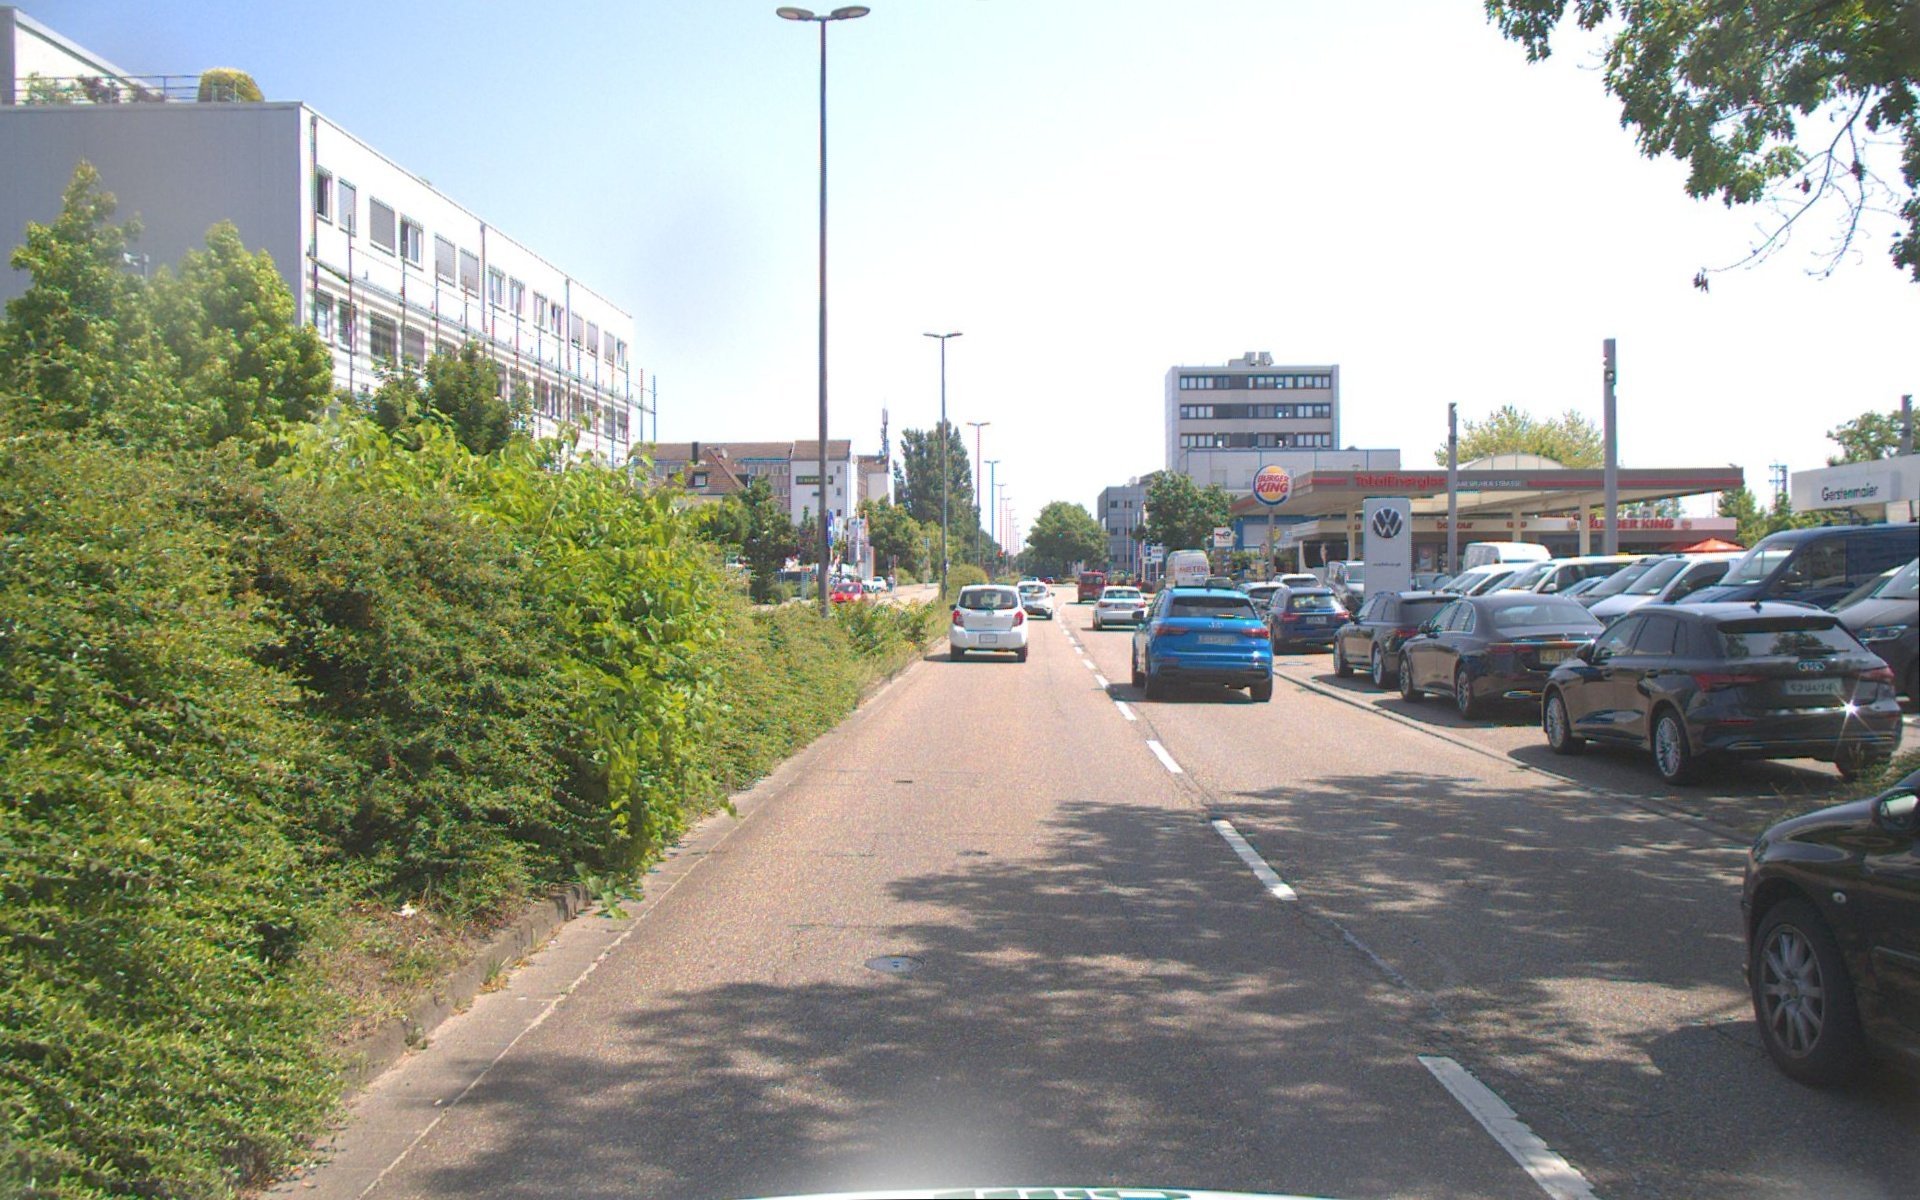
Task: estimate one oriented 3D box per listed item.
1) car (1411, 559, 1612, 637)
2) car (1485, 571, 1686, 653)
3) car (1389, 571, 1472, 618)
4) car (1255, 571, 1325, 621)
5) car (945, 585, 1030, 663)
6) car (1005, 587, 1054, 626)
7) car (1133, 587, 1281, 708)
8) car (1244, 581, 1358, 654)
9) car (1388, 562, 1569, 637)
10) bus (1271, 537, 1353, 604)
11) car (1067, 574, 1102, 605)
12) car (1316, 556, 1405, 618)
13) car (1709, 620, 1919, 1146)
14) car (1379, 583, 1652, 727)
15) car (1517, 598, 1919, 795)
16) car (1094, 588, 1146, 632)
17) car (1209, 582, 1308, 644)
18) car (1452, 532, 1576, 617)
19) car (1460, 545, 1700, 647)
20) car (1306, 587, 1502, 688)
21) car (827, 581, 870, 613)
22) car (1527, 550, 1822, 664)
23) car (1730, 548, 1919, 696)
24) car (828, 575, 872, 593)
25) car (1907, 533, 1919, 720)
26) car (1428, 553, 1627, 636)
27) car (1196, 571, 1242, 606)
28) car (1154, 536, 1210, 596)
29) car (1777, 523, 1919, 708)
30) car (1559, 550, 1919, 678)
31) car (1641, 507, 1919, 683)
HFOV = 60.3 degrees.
[{"bbox_3d":[13.869,-0.036,41.804,4.462,1.921,1.857,0,-1,1],"label":"car"},{"bbox_3d":[12.772,0.230,33.957,3.553,1.598,1.717,1,0,8],"label":"car"},{"bbox_3d":[16.358,-0.230,57.754,1.707,1.540,4.602,1,1,2],"label":"car"},{"bbox_3d":[11.463,-0.174,57.688,1.632,1.623,4.614,-1,1,2],"label":"car"},{"bbox_3d":[0.536,0.518,34.720,1.677,1.537,3.246,1,-1,-1],"label":"car"},{"bbox_3d":[2.725,0.266,65.933,1.792,1.475,4.000,1,-1,0],"label":"car"},{"bbox_3d":[3.626,0.632,24.971,1.872,1.625,4.398,1,1,4],"label":"car"},{"bbox_3d":[7.935,0.389,38.909,1.678,1.575,4.790,-1,0,0],"label":"car"},{"bbox_3d":[14.043,-0.034,44.975,4.321,1.915,1.909,-1,1,1],"label":"car"},{"bbox_3d":[17.727,-1.564,84.015,2.745,3.132,12.295,0,2,6],"label":"bus"},{"bbox_3d":[7.217,-0.592,96.398,1.758,1.759,3.972,1,-1,0],"label":"car"},{"bbox_3d":[13.851,-0.451,57.539,1.952,2.058,5.162,1,0,1],"label":"car"},{"bbox_3d":[3.488,0.808,4.079,1.567,1.450,3.660,0,0,-1],"label":"car"},{"bbox_3d":[7.032,0.609,21.573,1.920,1.556,5.162,-3,0,2],"label":"car"},{"bbox_3d":[6.538,0.733,14.803,1.647,1.460,4.440,-1,0,1],"label":"car"},{"bbox_3d":[5.273,0.337,54.711,1.632,1.424,3.795,0,-1,4],"label":"car"},{"bbox_3d":[7.935,0.306,44.290,1.698,1.579,4.178,0,1,-3],"label":"car"},{"bbox_3d":[19.180,-0.884,57.628,2.209,2.722,7.020,-1,1,2],"label":"car"},{"bbox_3d":[13.647,-0.105,36.611,4.545,2.048,1.960,-2,1,0],"label":"car"},{"bbox_3d":[7.247,0.554,27.562,1.817,1.507,5.155,-1,0,-1],"label":"car"},{"bbox_3d":[-5.398,-0.166,80.345,1.596,1.449,3.452,-2,0,3],"label":"car"},{"bbox_3d":[13.429,0.088,31.323,4.687,2.018,2.005,1,2,2],"label":"car"},{"bbox_3d":[13.381,0.232,22.911,4.473,1.883,1.952,-2,1,1],"label":"car"},{"bbox_3d":[-10.311,-1.482,155.334,3.903,1.579,1.866,1,-1,5],"label":"car"},{"bbox_3d":[13.427,0.202,18.026,4.960,2.133,2.041,-2,0,1],"label":"car"},{"bbox_3d":[13.527,-0.105,39.591,4.064,1.812,1.881,-2,-1,1],"label":"car"},{"bbox_3d":[11.860,-0.535,76.009,1.623,1.545,3.821,-2,1,2],"label":"car"},{"bbox_3d":[11.957,-1.819,89.607,2.089,2.888,7.312,-5,1,2],"label":"car"},{"bbox_3d":[13.064,0.094,20.486,4.798,2.151,2.129,-2,1,1],"label":"car"},{"bbox_3d":[13.589,0.227,28.451,5.770,2.049,2.260,1,0,3],"label":"car"},{"bbox_3d":[13.851,-0.046,25.589,5.720,2.568,2.205,1,-1,4],"label":"car"}]
